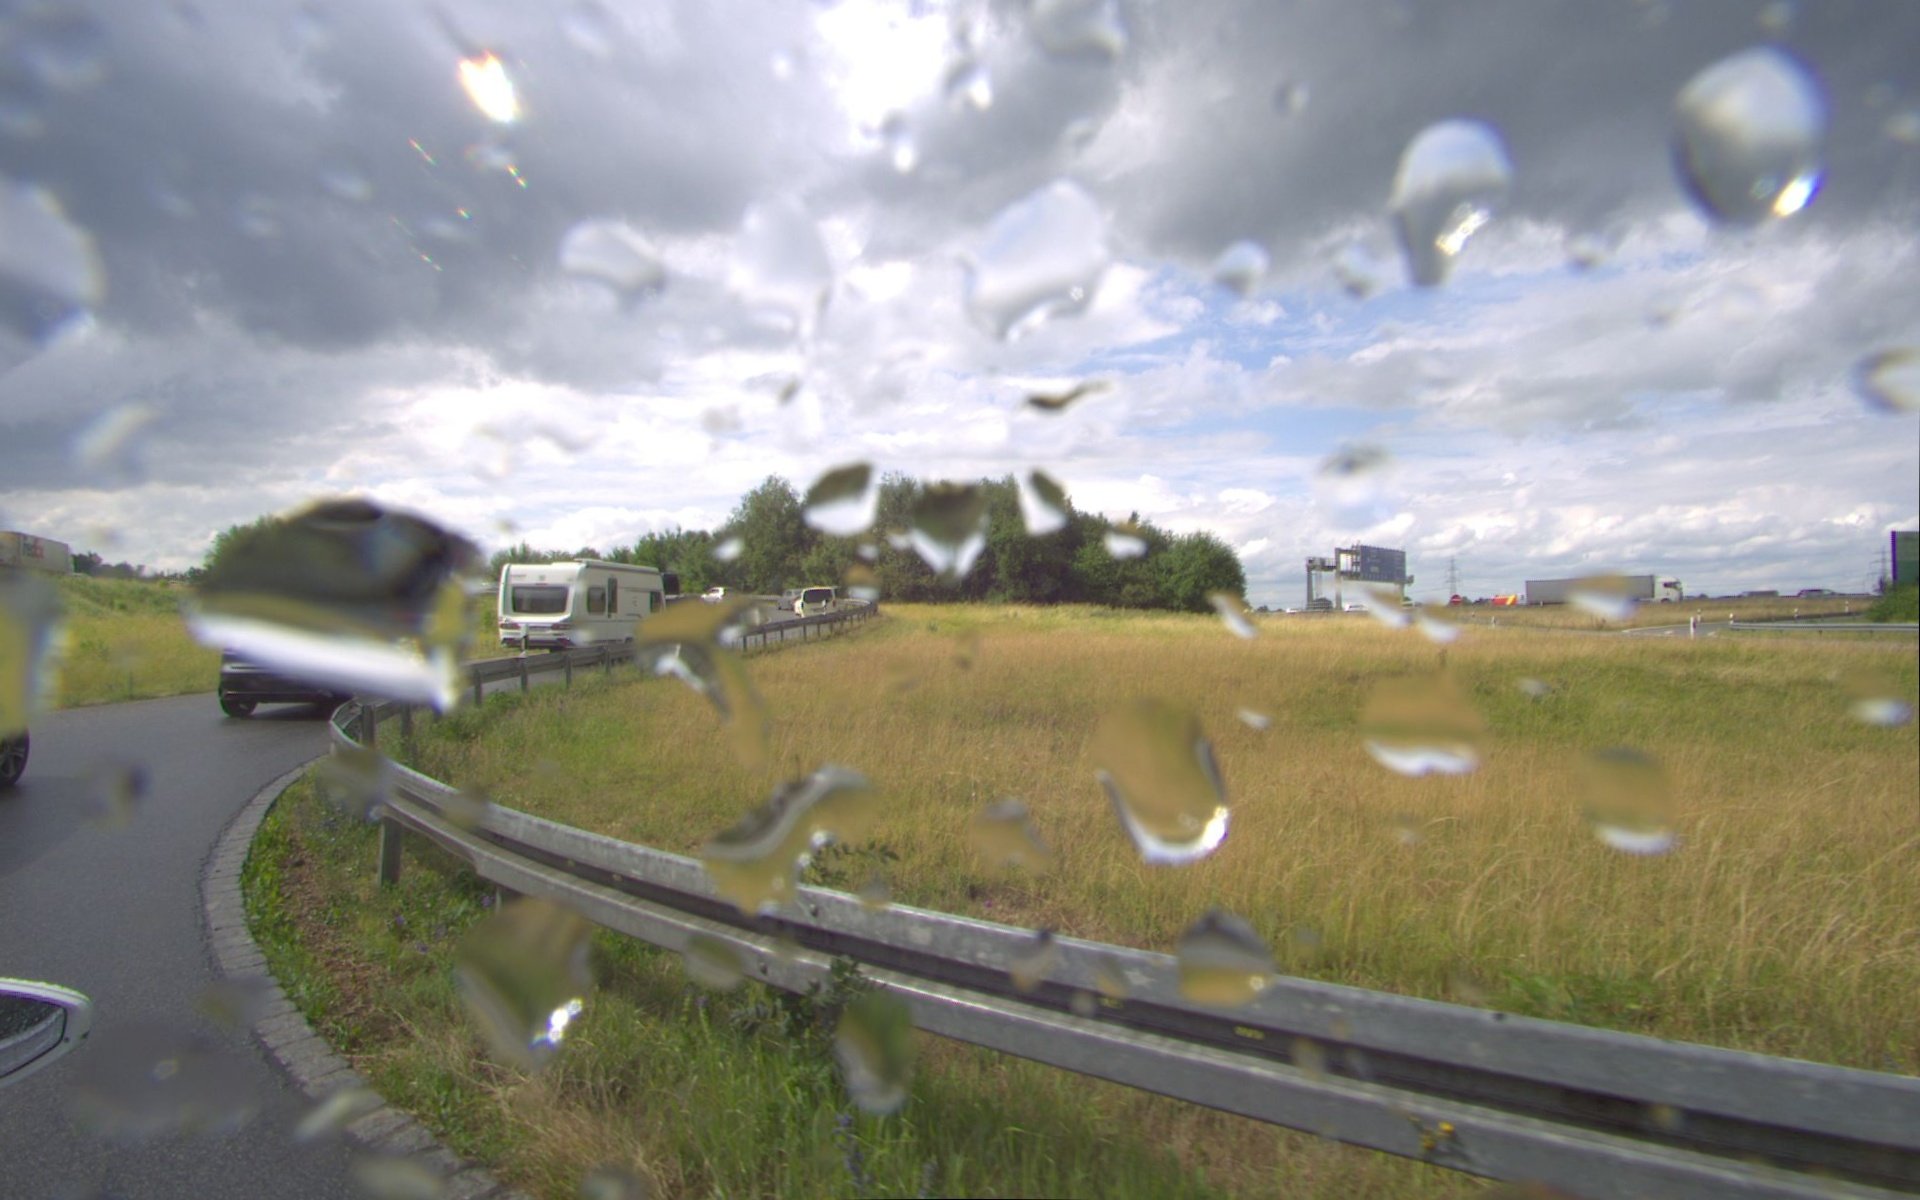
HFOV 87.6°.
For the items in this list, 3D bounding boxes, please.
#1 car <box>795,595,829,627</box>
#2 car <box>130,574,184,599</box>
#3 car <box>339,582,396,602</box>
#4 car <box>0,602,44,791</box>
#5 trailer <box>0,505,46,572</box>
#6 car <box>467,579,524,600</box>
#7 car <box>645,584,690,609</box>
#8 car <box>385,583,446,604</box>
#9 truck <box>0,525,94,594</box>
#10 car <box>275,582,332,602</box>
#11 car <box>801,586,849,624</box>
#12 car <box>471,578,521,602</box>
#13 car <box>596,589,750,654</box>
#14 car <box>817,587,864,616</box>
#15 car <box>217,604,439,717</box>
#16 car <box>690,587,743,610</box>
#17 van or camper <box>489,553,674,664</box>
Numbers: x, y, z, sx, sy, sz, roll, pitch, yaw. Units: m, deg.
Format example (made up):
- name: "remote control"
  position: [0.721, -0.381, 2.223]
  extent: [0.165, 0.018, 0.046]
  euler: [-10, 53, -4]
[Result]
- name: "car"
  position: [-9.188, 0.730, 61.983]
  extent: [1.962, 1.885, 5.055]
  euler: [0, -1, -9]
- name: "car"
  position: [-76.772, -1.271, 95.780]
  extent: [3.953, 2.038, 1.814]
  euler: [2, -4, -37]
- name: "car"
  position: [-59.553, -0.810, 100.685]
  extent: [4.424, 1.885, 2.000]
  euler: [0, -1, -6]
- name: "car"
  position: [-8.018, 0.753, 6.701]
  extent: [1.896, 1.527, 4.570]
  euler: [1, -1, -31]
- name: "trailer"
  position: [-74.551, -4.977, 75.489]
  extent: [4.367, 4.004, 20.118]
  euler: [1, -4, -31]
- name: "car"
  position: [-45.712, -0.989, 98.606]
  extent: [4.965, 1.885, 1.998]
  euler: [-1, -1, 16]
- name: "car"
  position: [-26.514, -0.322, 90.693]
  extent: [3.950, 2.038, 1.987]
  euler: [-3, -4, 37]
- name: "car"
  position: [-53.880, -0.630, 99.193]
  extent: [4.958, 1.885, 2.000]
  euler: [-1, -1, 2]
- name: "truck"
  position: [-84.662, -3.483, 92.041]
  extent: [4.414, 4.558, 19.279]
  euler: [1, -4, -31]
- name: "car"
  position: [-67.571, -0.795, 103.073]
  extent: [4.961, 1.885, 1.999]
  euler: [-1, -1, 10]
- name: "car"
  position: [-7.070, 0.307, 52.808]
  extent: [1.961, 1.885, 5.058]
  euler: [-1, -1, -1]
- name: "car"
  position: [-45.456, -0.954, 98.080]
  extent: [3.923, 2.039, 2.001]
  euler: [-2, -2, 6]
- name: "car"
  position: [-9.451, 0.709, 33.642]
  extent: [2.391, 1.951, 5.755]
  euler: [1, -1, 14]
- name: "car"
  position: [-8.150, 0.142, 67.838]
  extent: [1.967, 1.885, 5.044]
  euler: [0, -1, -22]
- name: "car"
  position: [-9.799, 0.867, 15.904]
  extent: [1.692, 1.545, 3.996]
  euler: [1, -1, -12]
- name: "car"
  position: [-20.638, -0.141, 84.763]
  extent: [4.998, 1.807, 1.653]
  euler: [-2, -1, 40]
- name: "van or camper"
  position: [-10.381, 0.251, 28.178]
  extent: [2.391, 2.765, 6.001]
  euler: [1, -1, 6]
